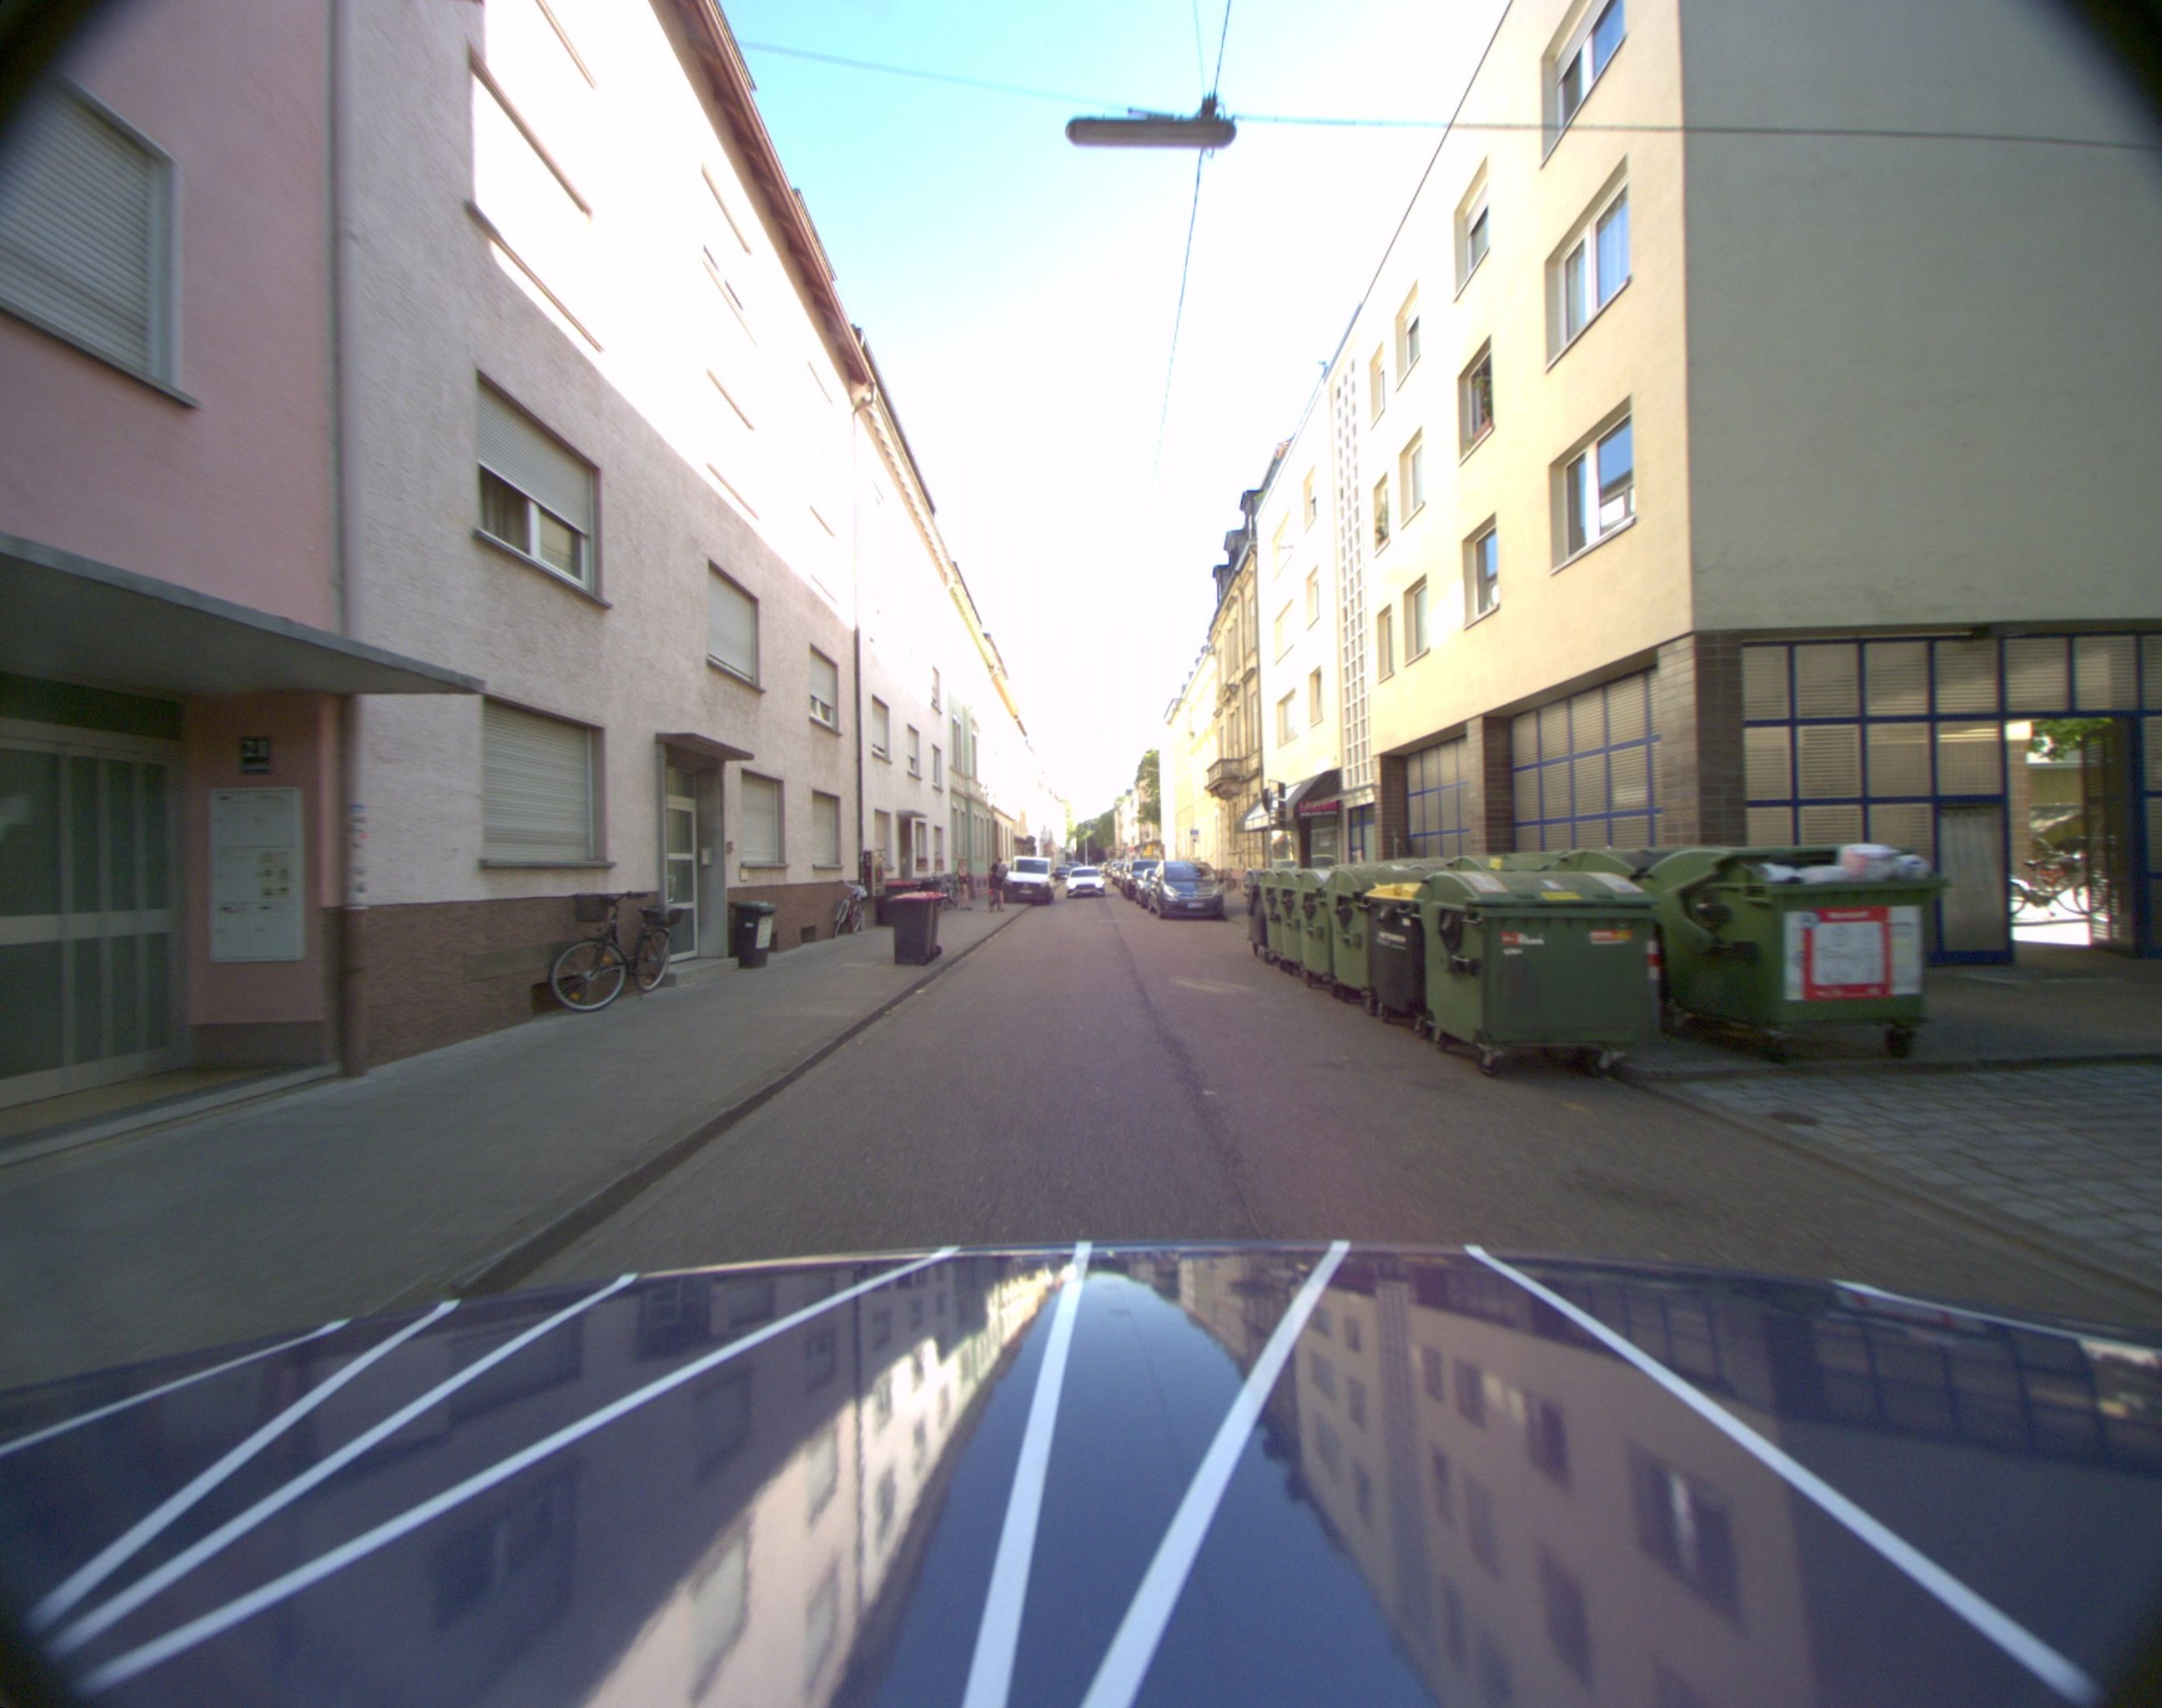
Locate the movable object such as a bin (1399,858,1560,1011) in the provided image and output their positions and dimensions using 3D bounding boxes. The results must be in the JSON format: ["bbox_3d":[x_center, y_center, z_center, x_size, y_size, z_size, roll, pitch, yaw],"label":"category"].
[{"bbox_3d":[4.537,0.878,8.760,1.297,1.611,1.018,-2,1,1],"label":"movable object such as a bin"}]

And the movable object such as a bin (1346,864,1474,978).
[{"bbox_3d":[4.644,0.916,10.839,1.309,1.490,1.157,-2,1,1],"label":"movable object such as a bin"}]

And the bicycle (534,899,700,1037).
[{"bbox_3d":[-4.702,1.092,7.863,0.454,1.127,1.920,1,0,3],"label":"bicycle"}]

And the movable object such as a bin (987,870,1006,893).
[{"bbox_3d":[-4.163,1.351,37.349,0.814,1.082,0.674,-1,1,3],"label":"movable object such as a bin"}]

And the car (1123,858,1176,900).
[{"bbox_3d":[2.915,1.027,33.451,1.941,1.726,5.142,0,0,1],"label":"car"}]

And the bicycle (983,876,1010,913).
[{"bbox_3d":[-2.734,1.288,24.869,0.665,1.130,1.988,2,-1,-1],"label":"bicycle"}]

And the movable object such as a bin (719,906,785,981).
[{"bbox_3d":[-4.575,1.234,10.602,0.599,0.946,0.682,-1,1,2],"label":"movable object such as a bin"}]

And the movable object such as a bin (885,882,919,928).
[{"bbox_3d":[-4.438,1.262,18.869,0.658,1.098,0.593,-1,0,2],"label":"movable object such as a bin"}]

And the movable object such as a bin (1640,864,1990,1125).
[{"bbox_3d":[4.973,0.867,5.262,1.356,1.540,1.120,-2,1,-5],"label":"movable object such as a bin"}]

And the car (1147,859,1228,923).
[{"bbox_3d":[2.989,0.994,22.268,1.787,1.657,4.671,0,0,1],"label":"car"}]

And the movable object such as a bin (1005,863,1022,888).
[{"bbox_3d":[-3.971,1.261,44.612,0.839,1.382,1.296,1,2,0],"label":"movable object such as a bin"}]

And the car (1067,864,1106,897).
[{"bbox_3d":[0.284,1.248,36.984,1.761,1.399,4.022,-1,0,1],"label":"car"}]

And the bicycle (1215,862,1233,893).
[{"bbox_3d":[6.261,1.011,33.382,0.511,1.269,1.867,-1,0,2],"label":"bicycle"}]

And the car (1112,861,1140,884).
[{"bbox_3d":[3.209,1.316,55.392,1.718,1.479,4.852,1,0,0],"label":"car"}]

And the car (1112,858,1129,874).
[{"bbox_3d":[4.682,1.407,91.005,1.771,1.887,4.809,1,-1,0],"label":"car"}]

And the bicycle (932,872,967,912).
[{"bbox_3d":[-4.335,1.224,25.185,0.438,1.199,2.267,-1,0,8],"label":"bicycle"}]

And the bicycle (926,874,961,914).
[{"bbox_3d":[-4.338,1.239,24.095,0.570,1.147,1.869,-1,0,5],"label":"bicycle"}]

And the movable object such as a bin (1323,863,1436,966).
[{"bbox_3d":[4.668,0.913,11.997,1.299,1.489,1.178,-2,1,1],"label":"movable object such as a bin"}]

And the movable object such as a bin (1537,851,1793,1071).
[{"bbox_3d":[4.848,0.815,6.422,1.231,1.643,1.173,-2,1,-5],"label":"movable object such as a bin"}]

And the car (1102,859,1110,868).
[{"bbox_3d":[5.458,2.063,165.968,1.585,1.970,4.068,-1,0,1],"label":"car"}]

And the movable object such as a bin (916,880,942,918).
[{"bbox_3d":[-4.442,1.311,22.220,0.617,1.056,0.603,1,0,1],"label":"movable object such as a bin"}]

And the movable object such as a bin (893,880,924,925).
[{"bbox_3d":[-4.417,1.234,19.431,0.629,1.116,0.569,-1,1,2],"label":"movable object such as a bin"}]

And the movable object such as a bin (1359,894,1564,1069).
[{"bbox_3d":[3.242,1.054,6.610,1.244,1.314,1.046,-2,1,1],"label":"movable object such as a bin"}]

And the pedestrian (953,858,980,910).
[{"bbox_3d":[-3.774,0.989,25.119,0.656,1.701,0.687,-1,1,13],"label":"pedestrian"}]

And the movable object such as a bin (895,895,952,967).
[{"bbox_3d":[-2.530,1.229,12.256,0.734,1.074,0.703,-1,1,2],"label":"movable object such as a bin"}]

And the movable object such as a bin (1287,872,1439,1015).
[{"bbox_3d":[3.204,0.986,8.770,1.346,1.490,1.018,-2,1,1],"label":"movable object such as a bin"}]

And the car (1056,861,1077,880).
[{"bbox_3d":[-1.310,1.488,70.599,1.805,1.569,4.897,-2,0,1],"label":"car"}]

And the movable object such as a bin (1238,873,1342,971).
[{"bbox_3d":[3.265,1.038,12.024,1.322,1.442,1.187,0,1,1],"label":"movable object such as a bin"}]

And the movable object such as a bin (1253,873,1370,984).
[{"bbox_3d":[3.245,1.024,10.850,1.337,1.475,1.093,0,1,1],"label":"movable object such as a bin"}]

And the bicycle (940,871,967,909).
[{"bbox_3d":[-4.437,1.219,26.522,0.406,1.199,2.160,-1,0,4],"label":"bicycle"}]

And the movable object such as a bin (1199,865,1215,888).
[{"bbox_3d":[6.532,1.155,39.376,0.721,1.125,0.584,-1,1,-3],"label":"movable object such as a bin"}]

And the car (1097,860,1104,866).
[{"bbox_3d":[5.101,2.295,195.622,1.786,1.674,4.022,-1,0,1],"label":"car"}]

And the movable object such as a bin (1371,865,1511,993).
[{"bbox_3d":[4.579,0.924,9.763,1.305,1.514,1.018,-2,1,1],"label":"movable object such as a bin"}]

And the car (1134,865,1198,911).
[{"bbox_3d":[2.983,1.177,27.651,1.850,1.408,4.818,0,0,1],"label":"car"}]

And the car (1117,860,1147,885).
[{"bbox_3d":[3.262,1.179,49.530,1.748,1.605,4.604,0,-1,2],"label":"car"}]

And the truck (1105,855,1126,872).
[{"bbox_3d":[4.927,1.312,108.373,2.171,2.295,6.345,0,0,-5],"label":"truck"}]

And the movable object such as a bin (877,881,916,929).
[{"bbox_3d":[-4.433,1.222,18.274,0.740,1.091,0.640,2,1,2],"label":"movable object such as a bin"}]

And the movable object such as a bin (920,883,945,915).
[{"bbox_3d":[-4.457,1.347,22.829,0.578,0.919,0.607,1,0,1],"label":"movable object such as a bin"}]

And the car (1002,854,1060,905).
[{"bbox_3d":[-2.013,1.009,32.281,1.988,1.872,5.600,3,0,1],"label":"car"}]

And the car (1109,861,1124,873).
[{"bbox_3d":[4.517,1.687,97.009,1.669,1.514,4.489,1,-1,0],"label":"car"}]

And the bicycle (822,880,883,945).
[{"bbox_3d":[-4.614,1.146,15.482,0.538,1.163,2.076,3,0,0],"label":"bicycle"}]

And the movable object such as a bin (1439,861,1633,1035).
[{"bbox_3d":[4.540,0.890,7.696,1.292,1.595,1.082,-2,1,1],"label":"movable object such as a bin"}]

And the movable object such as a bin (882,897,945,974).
[{"bbox_3d":[-2.532,1.227,11.542,0.770,1.080,0.693,-1,1,2],"label":"movable object such as a bin"}]

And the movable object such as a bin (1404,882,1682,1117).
[{"bbox_3d":[3.255,0.967,5.510,1.304,1.442,1.117,-2,1,-3],"label":"movable object such as a bin"}]

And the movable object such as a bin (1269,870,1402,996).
[{"bbox_3d":[3.237,0.977,9.805,1.352,1.478,1.003,-2,1,1],"label":"movable object such as a bin"}]

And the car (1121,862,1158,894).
[{"bbox_3d":[2.957,1.170,38.970,1.717,1.522,4.368,0,0,2],"label":"car"}]

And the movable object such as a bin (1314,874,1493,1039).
[{"bbox_3d":[3.208,0.982,7.701,1.337,1.482,1.082,-2,1,1],"label":"movable object such as a bin"}]

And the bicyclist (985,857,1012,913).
[{"bbox_3d":[-2.698,1.006,24.874,0.762,1.760,0.822,1,-1,-1],"label":"bicyclist"}]
